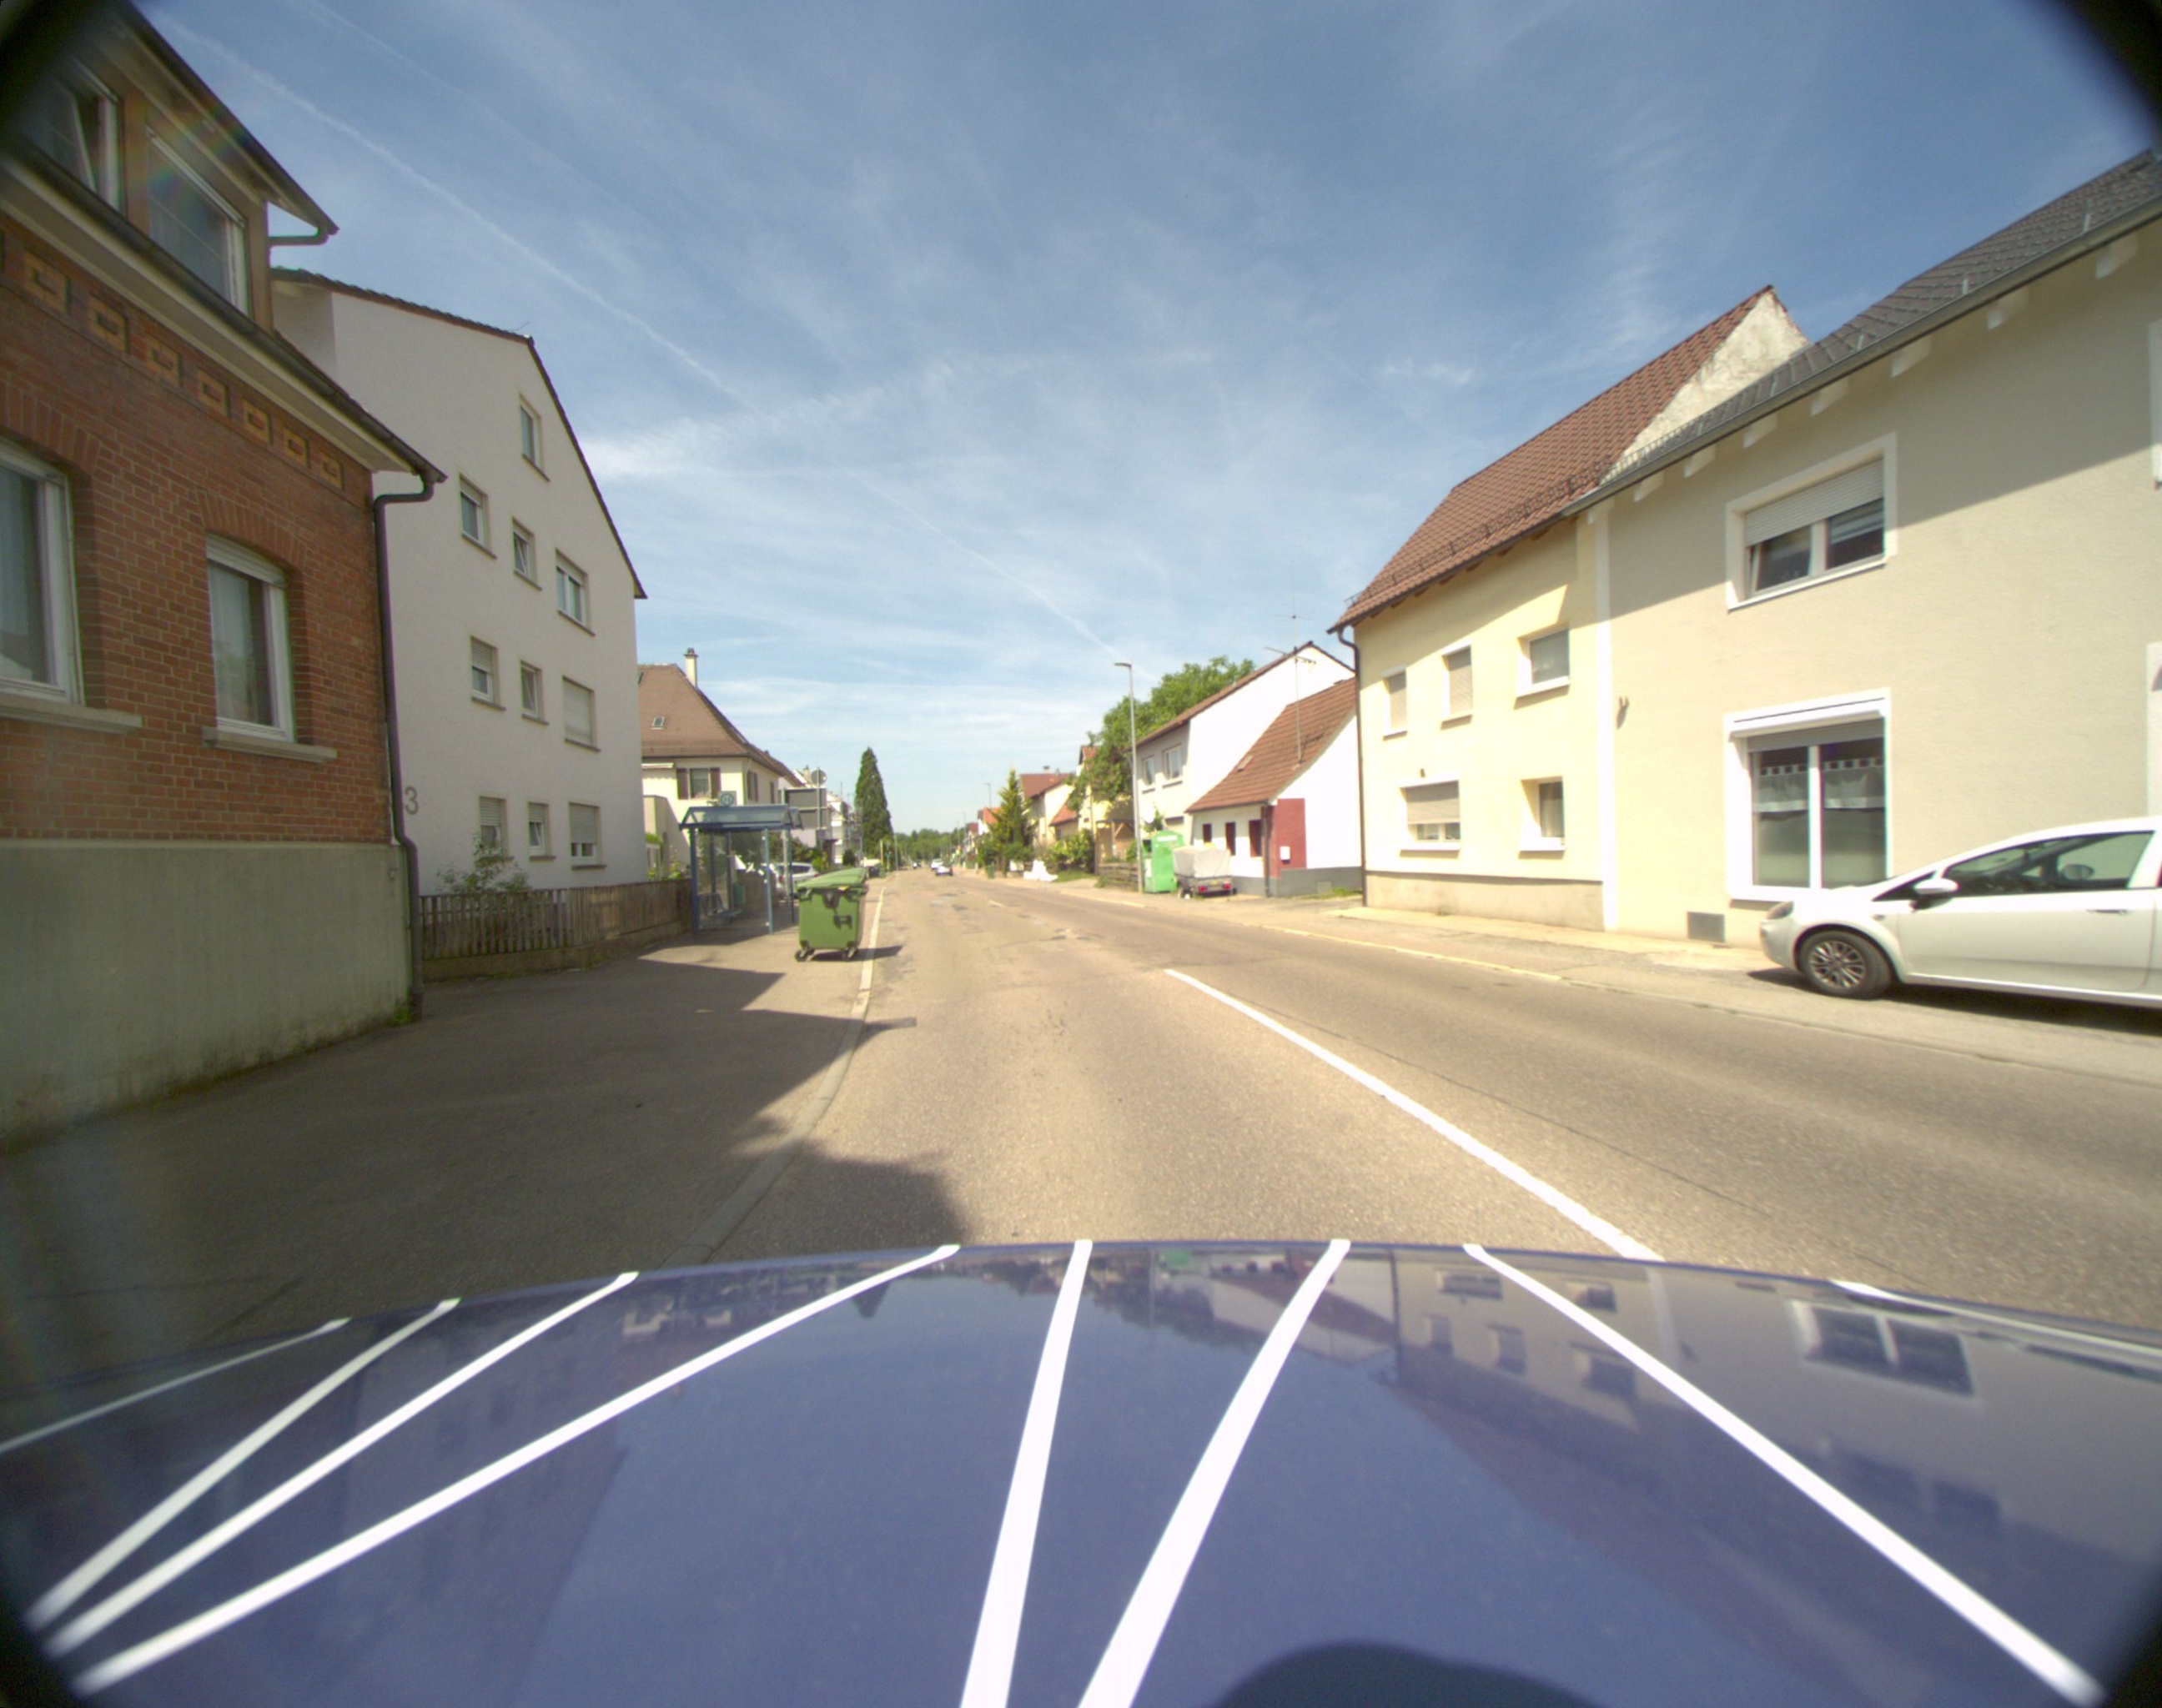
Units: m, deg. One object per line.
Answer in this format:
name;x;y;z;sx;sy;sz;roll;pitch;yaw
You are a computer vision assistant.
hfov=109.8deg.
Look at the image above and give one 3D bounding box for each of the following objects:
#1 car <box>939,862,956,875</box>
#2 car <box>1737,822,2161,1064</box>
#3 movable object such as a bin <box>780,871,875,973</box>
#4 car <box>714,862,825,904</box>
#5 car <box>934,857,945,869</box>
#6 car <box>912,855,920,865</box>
car;-14.710;1.631;83.894;1.650;1.349;3.562;-2;0;-12
car;7.700;0.556;5.574;1.827;1.494;3.995;-4;1;-14
movable object such as a bin;-4.105;1.057;12.451;1.356;1.512;1.290;-2;0;-15
car;-13.136;1.198;32.154;4.007;1.562;1.760;-2;0;-35
car;-20.983;1.367;112.708;1.411;1.690;3.312;-2;0;-13
car;-29.055;1.114;133.829;1.411;1.690;3.312;-2;0;-13
